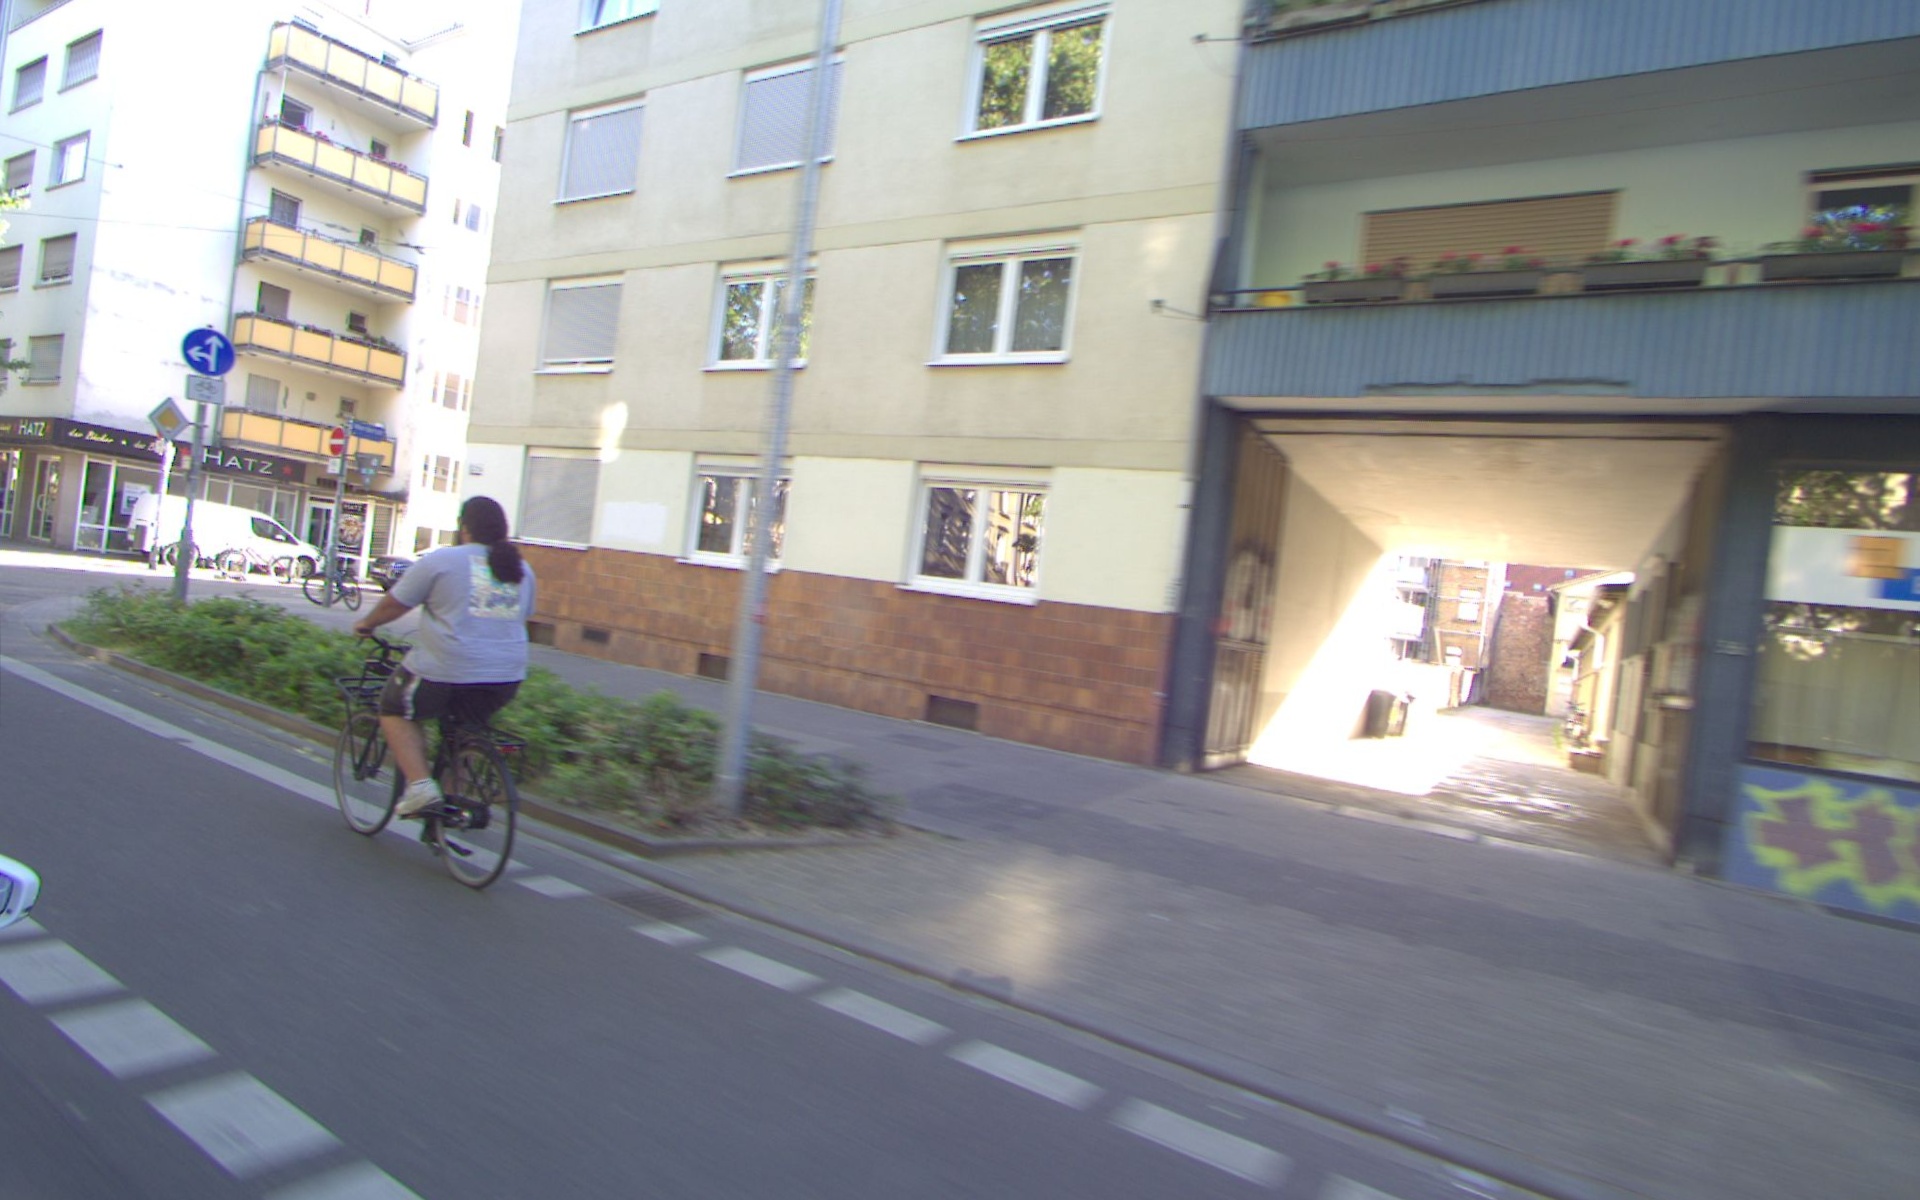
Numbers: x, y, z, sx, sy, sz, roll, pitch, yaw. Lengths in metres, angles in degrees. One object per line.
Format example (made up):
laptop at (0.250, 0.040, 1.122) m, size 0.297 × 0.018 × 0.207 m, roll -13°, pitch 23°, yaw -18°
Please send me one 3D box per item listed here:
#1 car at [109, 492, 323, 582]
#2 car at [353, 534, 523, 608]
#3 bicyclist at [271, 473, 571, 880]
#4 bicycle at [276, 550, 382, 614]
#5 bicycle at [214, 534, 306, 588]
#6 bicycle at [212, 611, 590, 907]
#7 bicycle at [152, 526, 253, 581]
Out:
car at (-21.112, -1.741, 28.769) m, size 1.965 × 1.852 × 4.370 m, roll 7°, pitch -1°, yaw 27°
car at (-15.387, -0.810, 29.861) m, size 1.773 × 1.625 × 4.012 m, roll 7°, pitch -1°, yaw 31°
bicyclist at (-2.668, 0.344, 5.011) m, size 0.899 × 1.780 × 0.788 m, roll 7°, pitch 0°, yaw 31°
bicycle at (-12.609, -0.361, 20.093) m, size 1.933 × 1.028 × 0.804 m, roll 7°, pitch 0°, yaw 26°
bicycle at (-17.913, -0.997, 25.769) m, size 0.605 × 1.130 × 1.768 m, roll 7°, pitch -1°, yaw 44°
bicycle at (-2.923, 0.739, 5.200) m, size 1.957 × 1.104 × 0.703 m, roll 6°, pitch -2°, yaw 31°
bicycle at (-19.261, -1.178, 25.615) m, size 0.692 × 1.130 × 1.837 m, roll 7°, pitch -1°, yaw 34°
